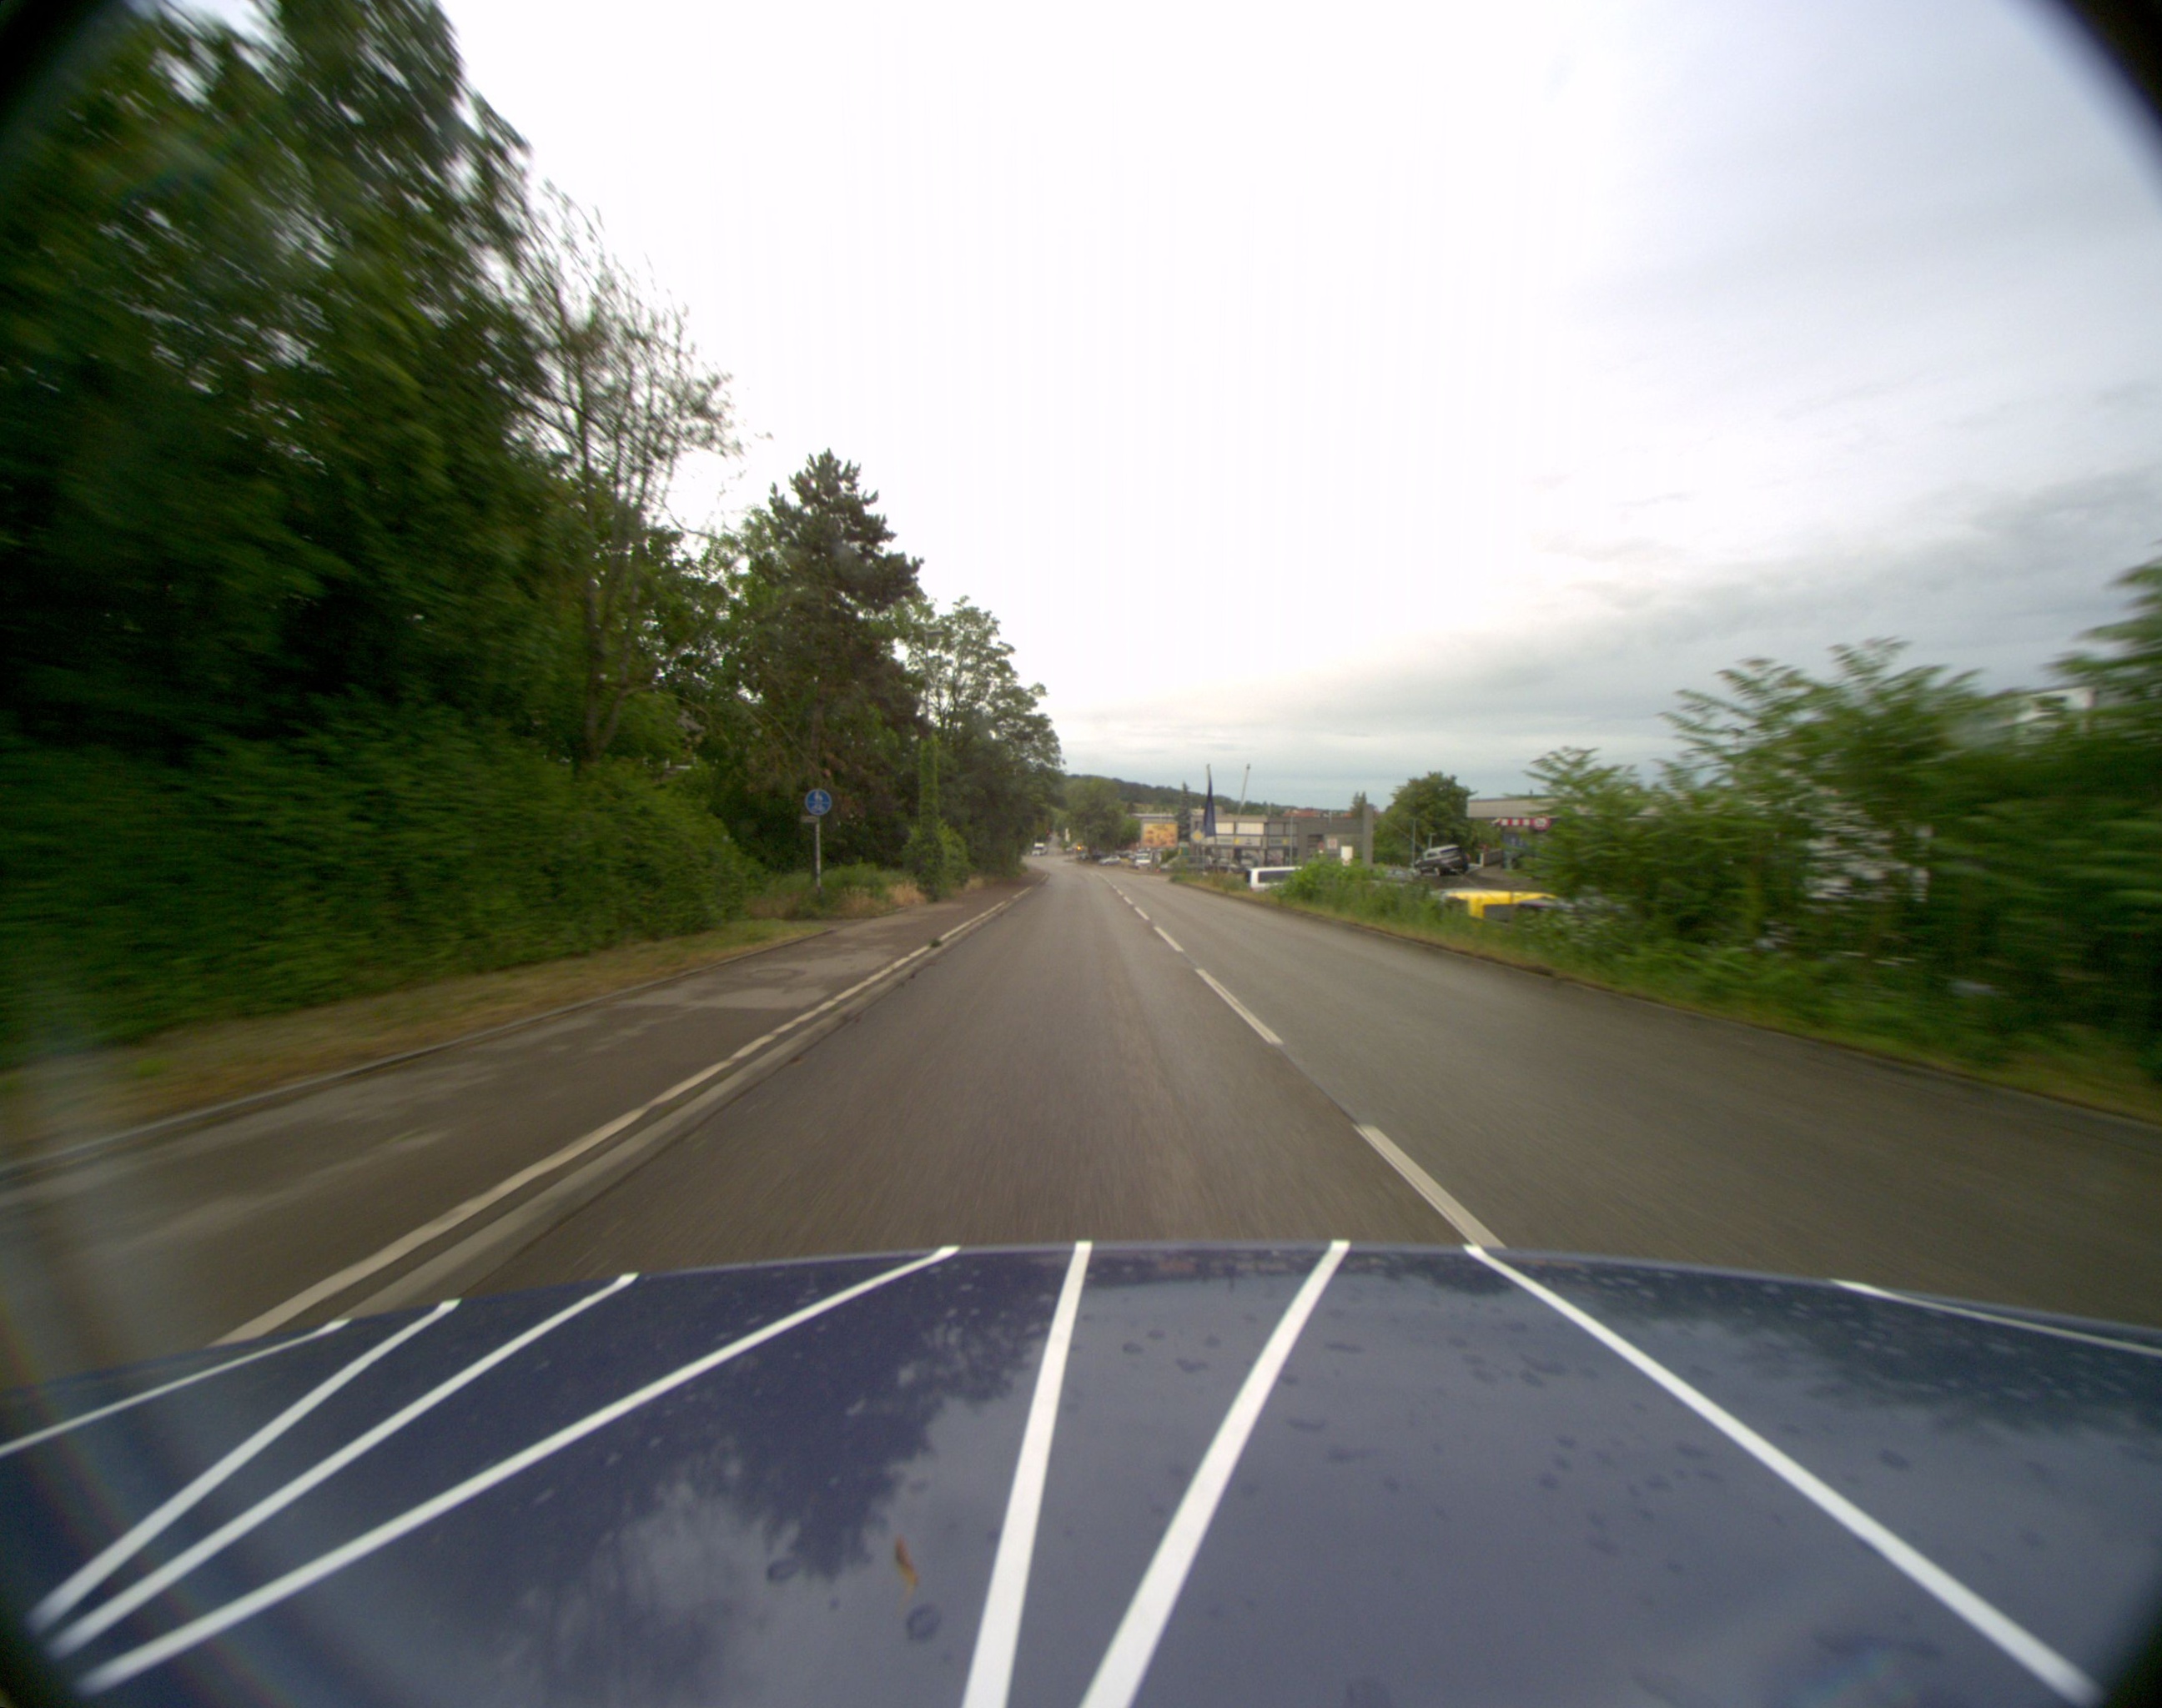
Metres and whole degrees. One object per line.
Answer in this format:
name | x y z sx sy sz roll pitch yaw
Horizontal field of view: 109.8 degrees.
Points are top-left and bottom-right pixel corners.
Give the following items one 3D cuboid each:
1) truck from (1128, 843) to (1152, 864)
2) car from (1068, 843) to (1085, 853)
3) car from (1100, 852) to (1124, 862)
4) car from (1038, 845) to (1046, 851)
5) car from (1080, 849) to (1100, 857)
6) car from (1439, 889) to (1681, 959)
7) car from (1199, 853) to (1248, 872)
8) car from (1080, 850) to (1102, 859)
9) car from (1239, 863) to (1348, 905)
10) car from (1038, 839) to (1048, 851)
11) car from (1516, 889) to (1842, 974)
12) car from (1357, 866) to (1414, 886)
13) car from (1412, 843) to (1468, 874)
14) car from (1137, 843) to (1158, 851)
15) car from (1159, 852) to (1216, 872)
truck | 7.697 -0.137 99.689 1.999 2.617 7.888 1 1 -3
car | -1.099 -1.463 186.722 1.774 2.094 4.369 -2 6 -39
car | 5.439 0.538 131.686 4.016 1.561 1.716 -2 2 -39
car | -9.600 -1.418 187.121 1.770 1.460 3.997 1 1 -5
car | 1.832 -0.159 148.067 3.768 1.558 1.671 1 2 -4
car | 10.248 1.472 16.533 4.070 1.283 1.805 1 0 6
car | 15.347 0.902 81.726 4.863 1.975 2.004 -1 0 45
car | 1.882 0.146 145.270 3.896 1.558 1.671 1 2 -7
car | 9.734 1.351 35.016 4.424 1.787 1.934 1 0 -1
car | -10.139 -2.450 204.128 2.575 2.759 6.122 2 4 -2
car | 9.755 1.251 12.616 4.074 1.204 1.804 1 0 -3
car | 24.594 1.762 61.380 4.095 1.419 1.893 1 0 25
car | 21.451 0.230 45.578 1.402 1.789 4.251 1 1 2
car | 16.716 -1.722 189.808 5.266 2.074 2.047 1 1 -40
car | 10.334 0.772 73.763 5.084 1.860 1.821 1 1 -9
